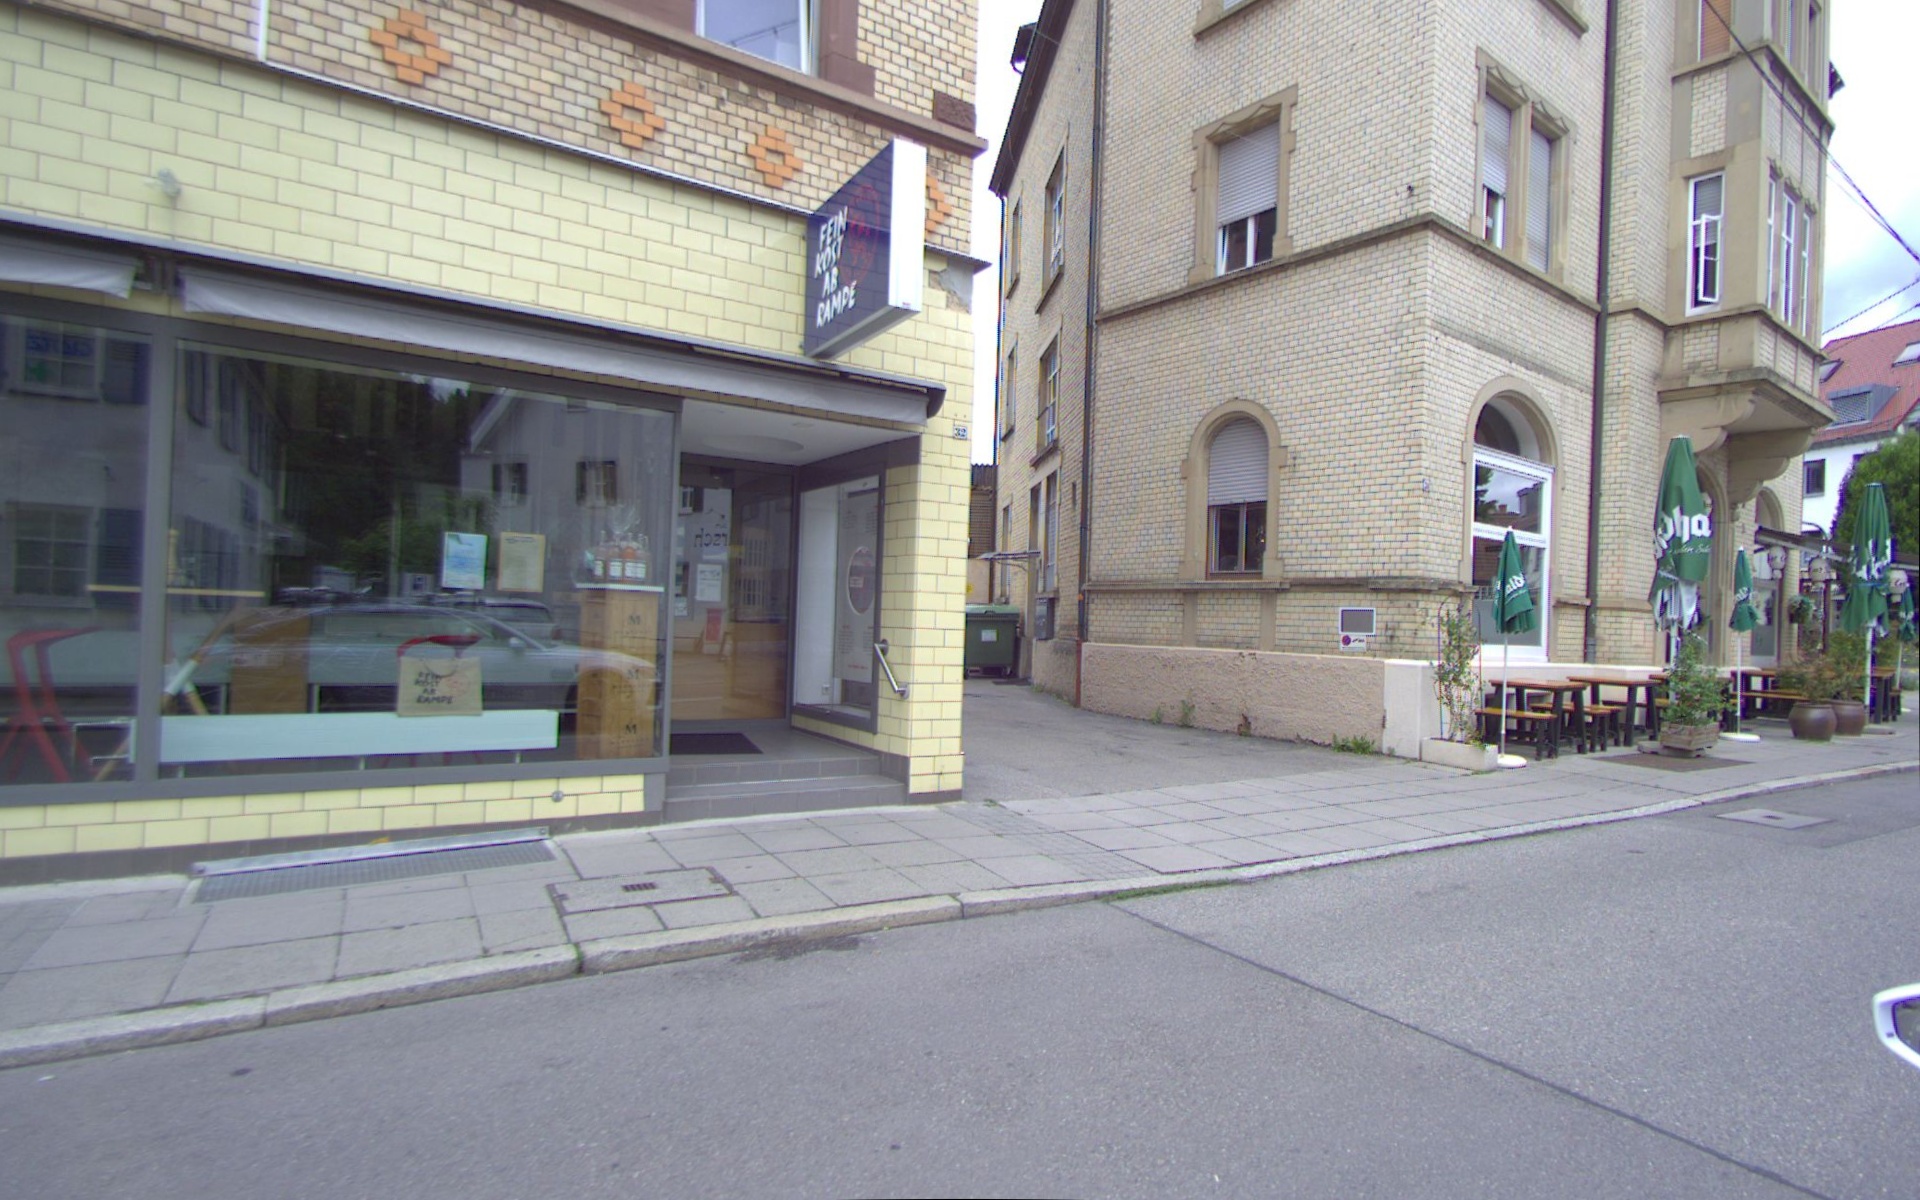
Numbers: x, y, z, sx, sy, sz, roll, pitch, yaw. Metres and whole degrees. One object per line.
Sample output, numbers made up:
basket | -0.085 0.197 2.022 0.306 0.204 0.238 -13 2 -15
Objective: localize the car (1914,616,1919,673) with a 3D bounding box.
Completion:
car | 30.626 1.383 28.769 2.013 1.697 4.348 1 0 -24

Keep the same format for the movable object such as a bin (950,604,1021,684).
movable object such as a bin | 0.494 0.880 20.651 1.269 1.523 1.802 1 1 -4

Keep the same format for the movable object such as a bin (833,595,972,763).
movable object such as a bin | -0.538 0.708 9.164 0.814 1.396 0.937 5 0 -31

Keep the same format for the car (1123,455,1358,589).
car | 5.117 -1.283 18.198 3.958 2.040 1.982 2 0 -33
